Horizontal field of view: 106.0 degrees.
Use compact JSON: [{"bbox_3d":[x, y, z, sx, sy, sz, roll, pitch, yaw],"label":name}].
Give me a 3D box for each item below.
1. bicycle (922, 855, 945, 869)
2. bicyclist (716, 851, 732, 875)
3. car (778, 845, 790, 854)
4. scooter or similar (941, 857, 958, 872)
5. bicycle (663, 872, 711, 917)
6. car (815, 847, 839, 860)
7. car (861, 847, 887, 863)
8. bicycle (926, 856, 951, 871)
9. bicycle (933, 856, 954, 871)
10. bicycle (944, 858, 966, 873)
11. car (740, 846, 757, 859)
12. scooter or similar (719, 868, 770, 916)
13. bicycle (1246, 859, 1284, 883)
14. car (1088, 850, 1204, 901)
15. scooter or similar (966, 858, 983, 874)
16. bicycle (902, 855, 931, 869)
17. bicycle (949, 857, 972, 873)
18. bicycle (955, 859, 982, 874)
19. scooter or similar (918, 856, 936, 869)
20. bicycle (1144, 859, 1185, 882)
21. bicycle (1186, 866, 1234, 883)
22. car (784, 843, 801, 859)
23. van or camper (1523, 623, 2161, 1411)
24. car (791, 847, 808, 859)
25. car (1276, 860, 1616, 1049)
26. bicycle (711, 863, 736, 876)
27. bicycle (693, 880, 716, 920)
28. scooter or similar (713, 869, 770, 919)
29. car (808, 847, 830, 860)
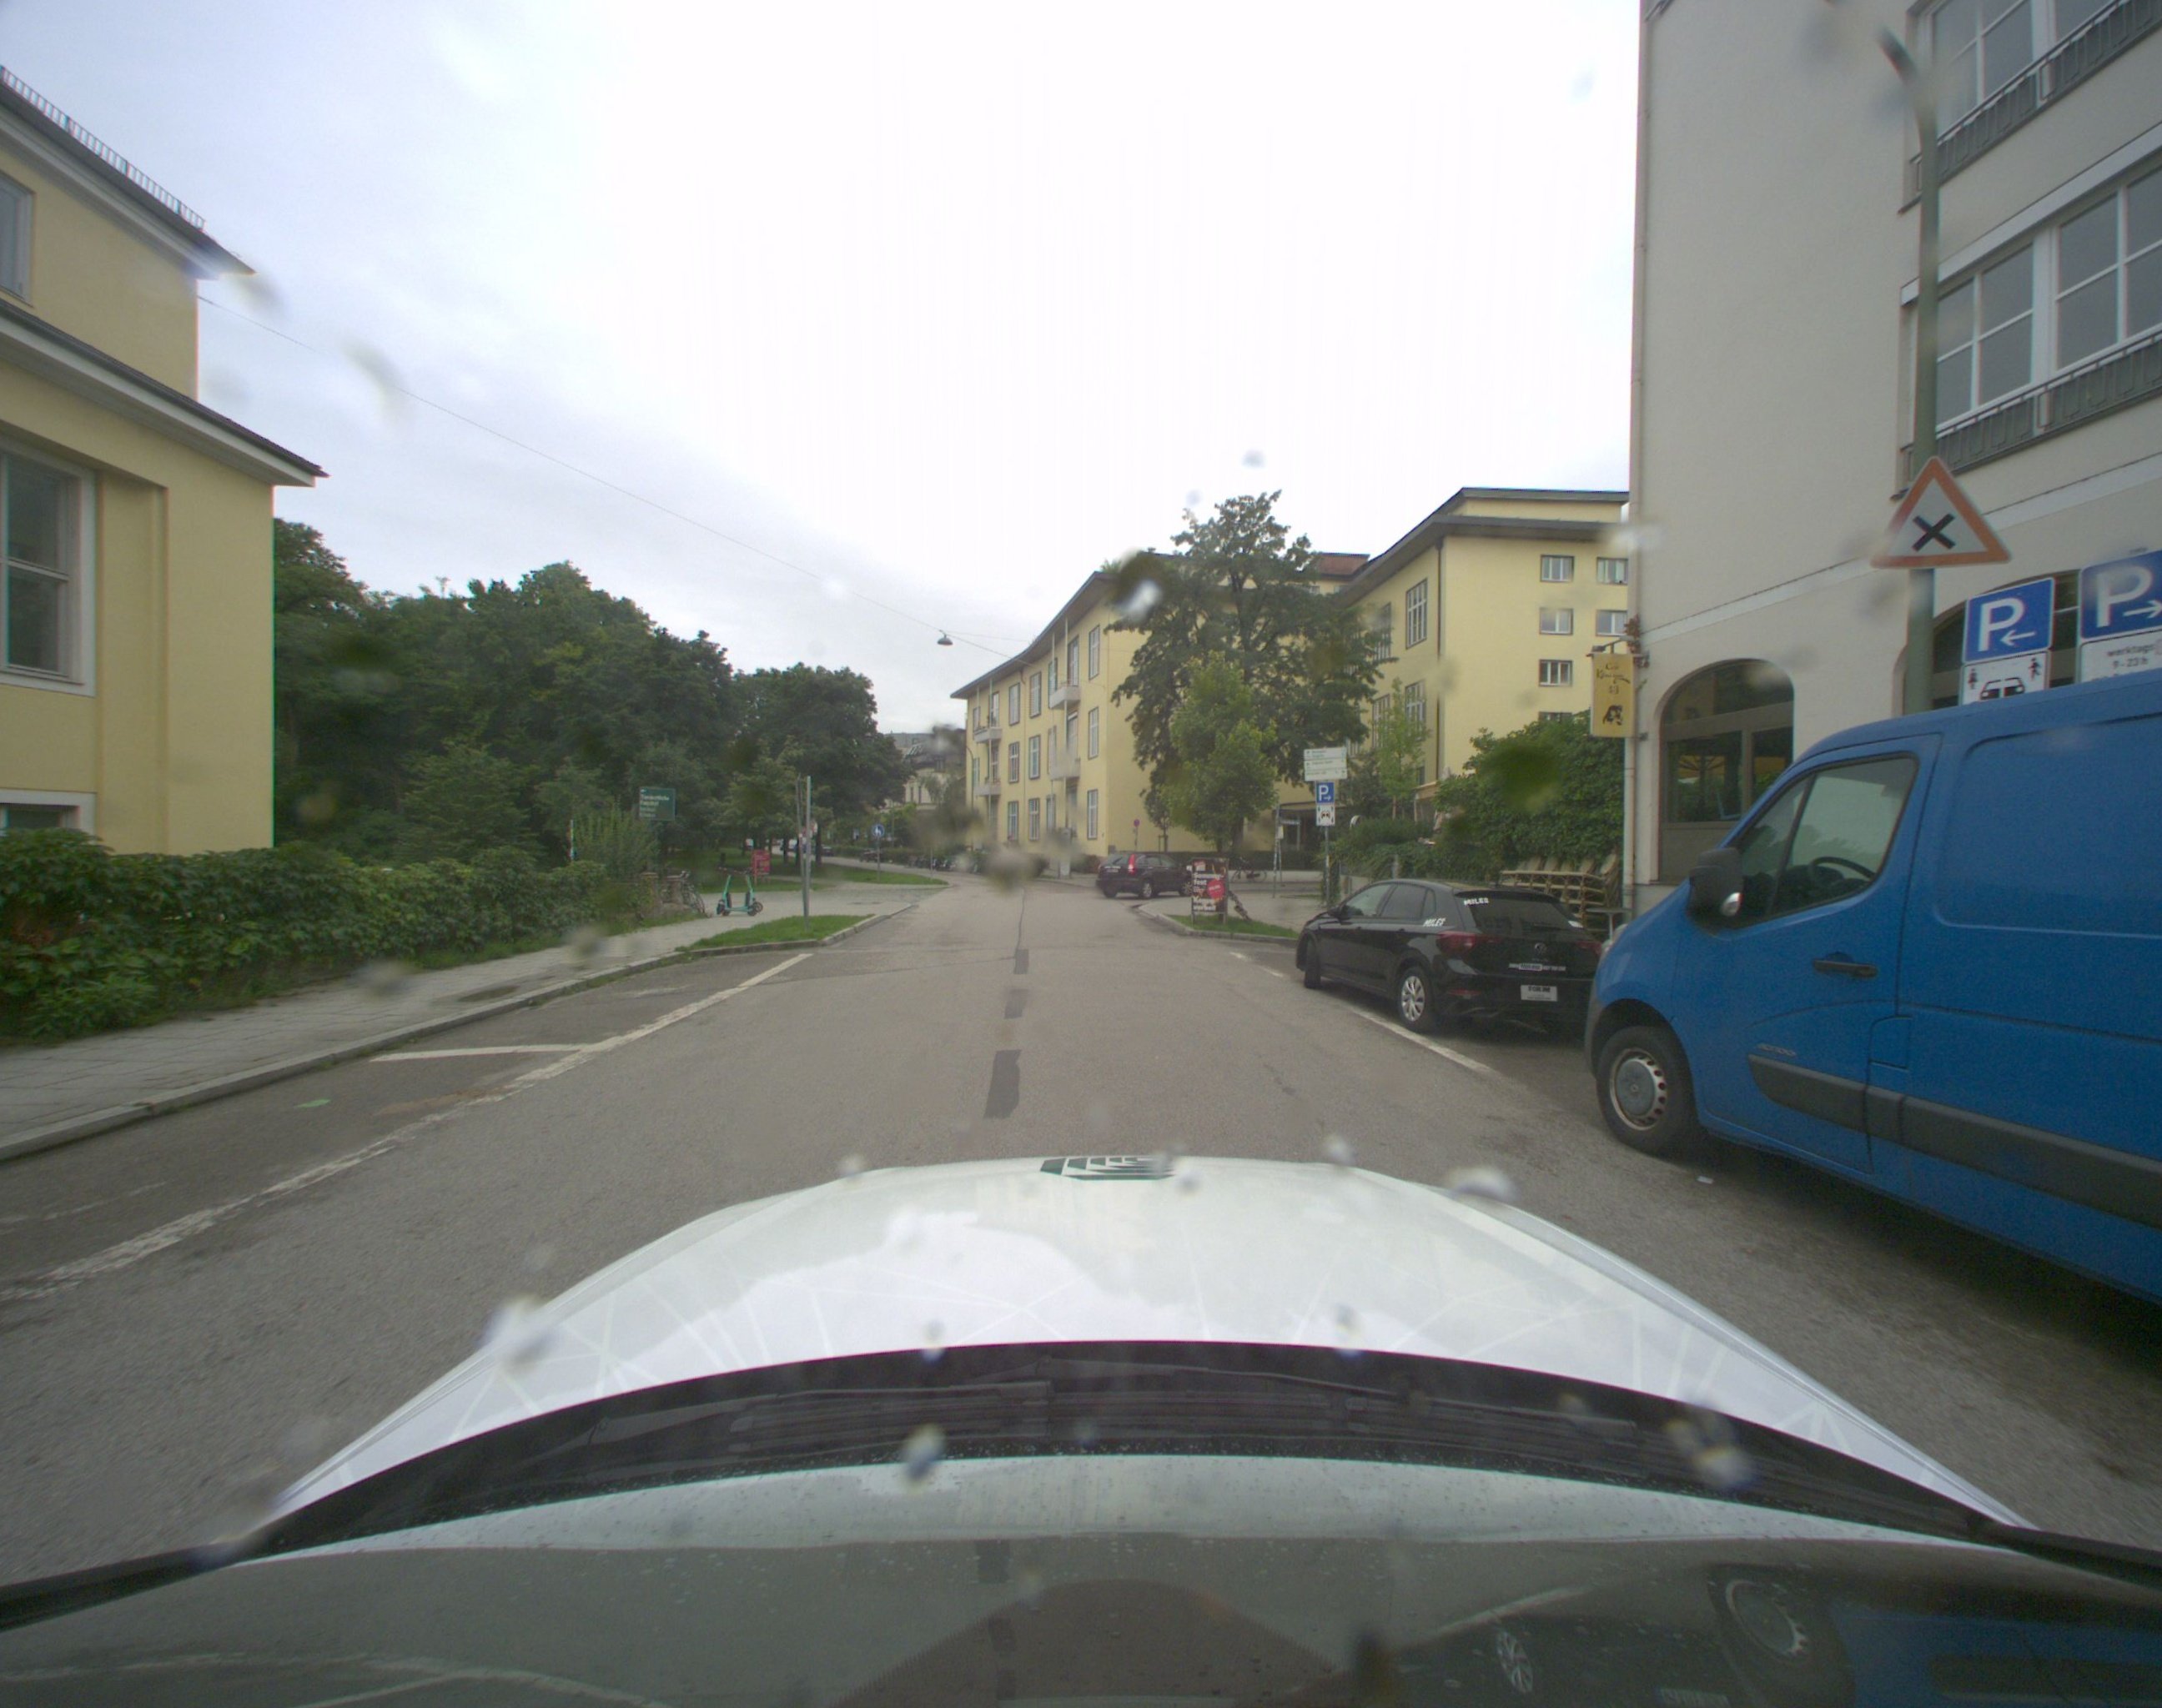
[{"bbox_3d":[-11.648,0.641,64.247,0.756,1.085,2.153,0,1,22],"label":"bicycle"},{"bbox_3d":[-21.791,0.533,49.738,0.624,1.460,0.647,0,0,9],"label":"bicyclist"},{"bbox_3d":[-51.952,-0.753,142.430,1.653,1.652,4.247,0,0,-27],"label":"car"},{"bbox_3d":[-9.901,0.795,61.444,0.490,1.088,1.418,0,1,26],"label":"scooter or similar"},{"bbox_3d":[-10.598,1.076,21.896,1.482,1.134,0.658,0,0,42],"label":"bicycle"},{"bbox_3d":[-33.048,-0.049,105.756,2.189,1.657,4.465,0,0,-28],"label":"car"},{"bbox_3d":[-21.225,0.088,83.360,1.872,1.633,4.249,0,0,-25],"label":"car"},{"bbox_3d":[-10.934,0.734,62.493,0.690,1.085,2.351,0,1,22],"label":"bicycle"},{"bbox_3d":[-10.411,0.738,61.776,0.631,1.085,1.996,0,1,22],"label":"bicycle"},{"bbox_3d":[-9.429,0.824,61.097,0.570,1.085,1.945,0,1,30],"label":"bicycle"},{"bbox_3d":[-49.297,-0.217,120.832,2.004,1.838,3.965,0,0,-27],"label":"car"},{"bbox_3d":[-8.976,0.997,21.757,0.441,1.220,1.189,-2,0,35],"label":"scooter or similar"},{"bbox_3d":[8.833,0.801,39.096,1.728,1.150,0.610,0,0,2],"label":"bicycle"},{"bbox_3d":[2.456,0.778,29.843,1.976,1.694,4.407,1,-1,41],"label":"car"},{"bbox_3d":[-7.469,0.815,57.090,0.490,1.109,1.418,0,1,26],"label":"scooter or similar"},{"bbox_3d":[-14.120,0.681,69.925,2.347,1.085,0.686,-1,1,-33],"label":"bicycle"},{"bbox_3d":[-8.927,0.811,60.546,0.570,1.085,1.945,0,1,30],"label":"bicycle"},{"bbox_3d":[-8.069,0.891,58.367,1.834,1.005,0.572,-1,1,-30],"label":"bicycle"},{"bbox_3d":[-12.910,0.688,68.276,1.405,1.088,0.595,-1,0,-10],"label":"scooter or similar"},{"bbox_3d":[4.154,0.806,40.590,0.613,1.117,2.190,0,0,-43],"label":"bicycle"},{"bbox_3d":[6.219,1.001,39.305,2.192,0.779,0.613,1,0,18],"label":"bicycle"},{"bbox_3d":[-46.914,-0.558,132.272,1.886,2.568,4.888,0,0,-27],"label":"car"},{"bbox_3d":[4.107,0.509,2.817,2.054,2.231,5.437,4,0,-1],"label":"van or camper"},{"bbox_3d":[-42.856,-0.167,123.745,1.886,1.816,3.964,0,0,-28],"label":"car"},{"bbox_3d":[3.713,0.908,9.153,1.701,1.518,3.952,4,0,-5],"label":"car"},{"bbox_3d":[-21.866,0.971,49.767,1.348,0.776,0.441,1,0,9],"label":"bicycle"},{"bbox_3d":[-9.461,1.132,20.469,0.472,0.923,1.194,0,0,-27],"label":"bicycle"},{"bbox_3d":[-8.734,1.029,20.984,1.174,1.220,0.602,-2,0,0],"label":"scooter or similar"},{"bbox_3d":[-35.756,-0.060,111.150,2.189,1.657,4.465,0,0,-28],"label":"car"}]
